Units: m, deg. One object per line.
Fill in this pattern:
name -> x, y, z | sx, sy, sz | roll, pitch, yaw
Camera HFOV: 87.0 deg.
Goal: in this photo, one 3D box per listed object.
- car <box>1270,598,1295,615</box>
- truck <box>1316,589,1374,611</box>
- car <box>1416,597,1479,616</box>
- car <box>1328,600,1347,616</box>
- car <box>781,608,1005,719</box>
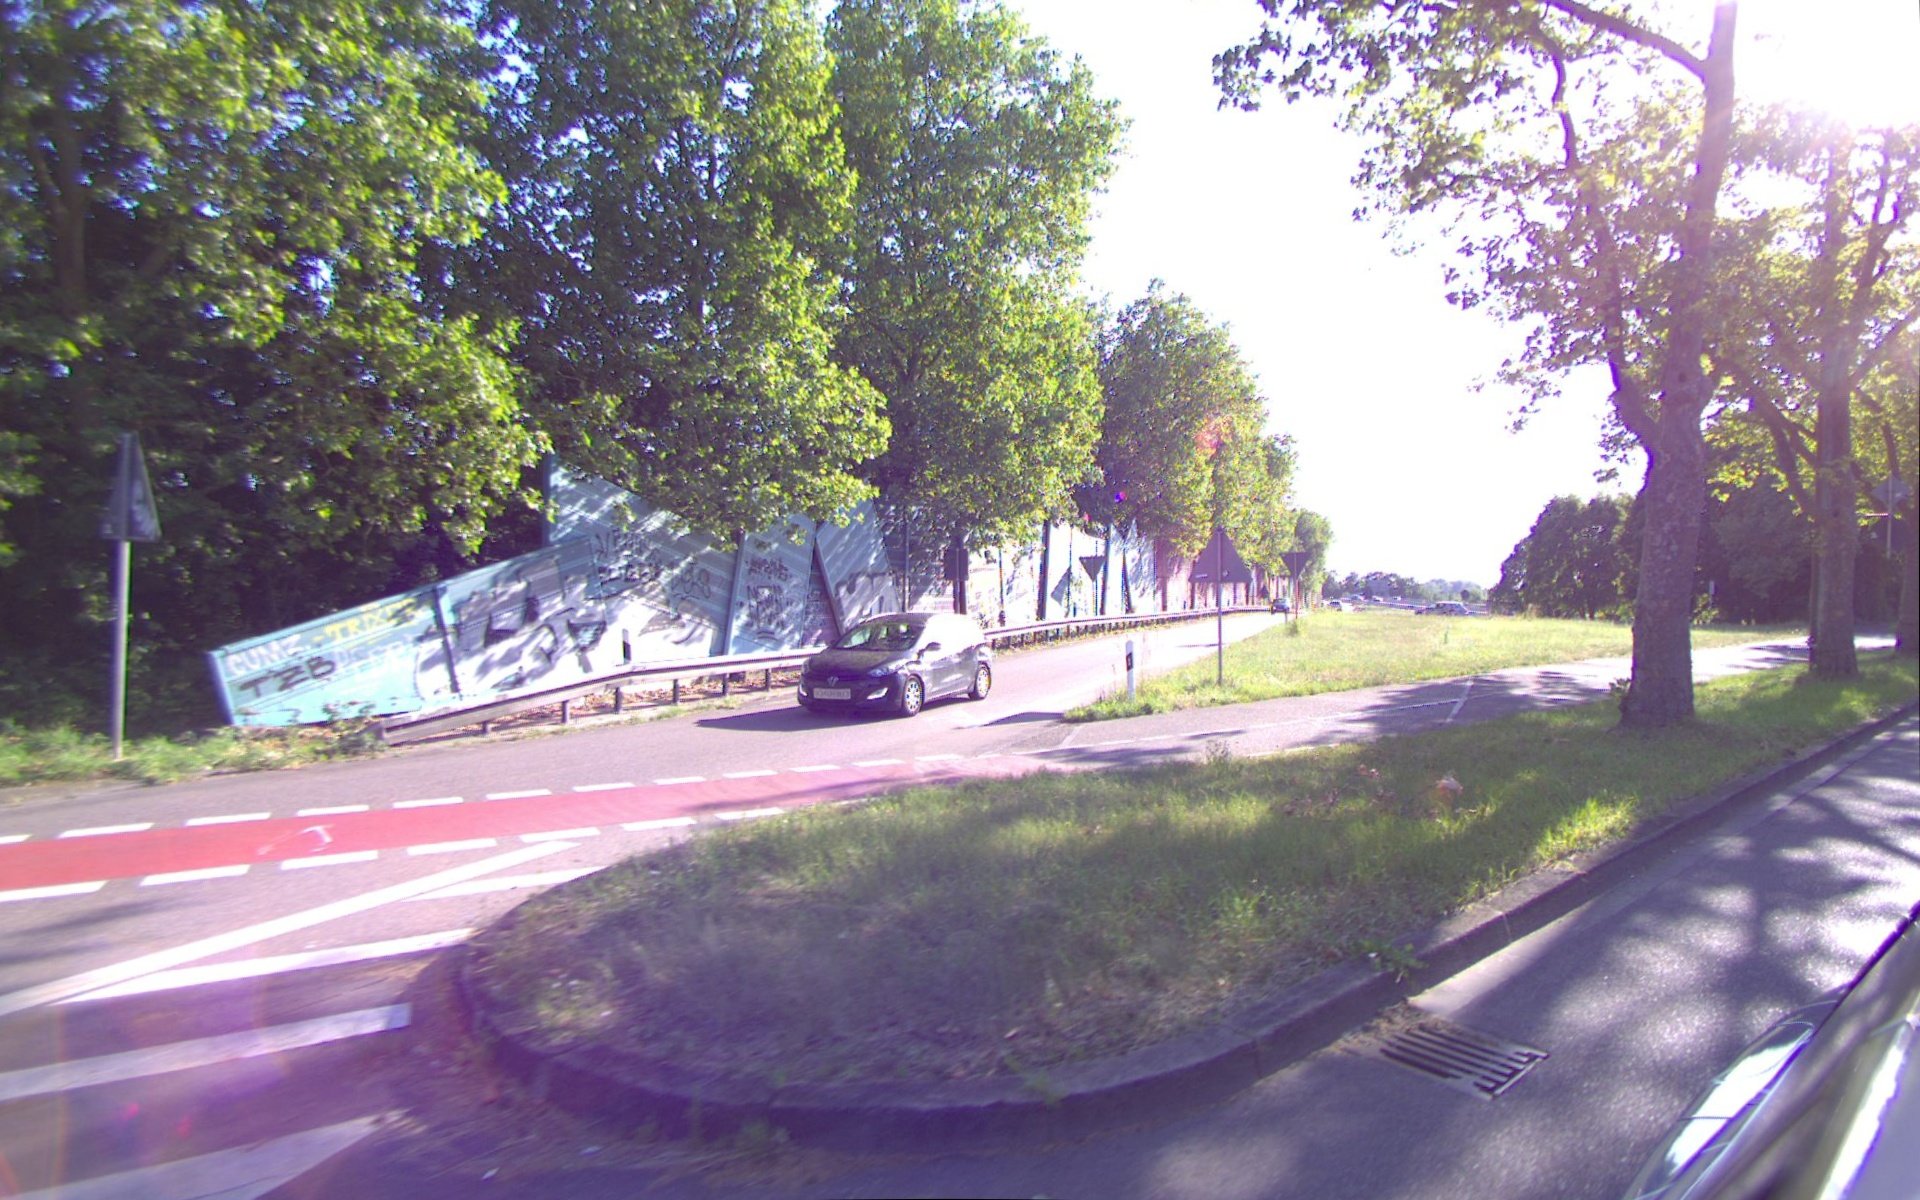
car -> 29.178, 0.580, 91.525 | 1.778, 1.458, 4.190 | 0, 0, 23
truck -> 77.229, -0.113, 203.227 | 10.485, 3.537, 2.633 | 5, 2, 21
car -> 36.536, 0.466, 75.888 | 1.659, 1.435, 4.142 | 0, 0, -25
car -> 45.876, 0.942, 122.902 | 1.796, 1.795, 3.829 | 0, 0, 25
car -> -0.903, 0.892, 16.121 | 1.780, 1.458, 4.187 | 0, 0, 25
